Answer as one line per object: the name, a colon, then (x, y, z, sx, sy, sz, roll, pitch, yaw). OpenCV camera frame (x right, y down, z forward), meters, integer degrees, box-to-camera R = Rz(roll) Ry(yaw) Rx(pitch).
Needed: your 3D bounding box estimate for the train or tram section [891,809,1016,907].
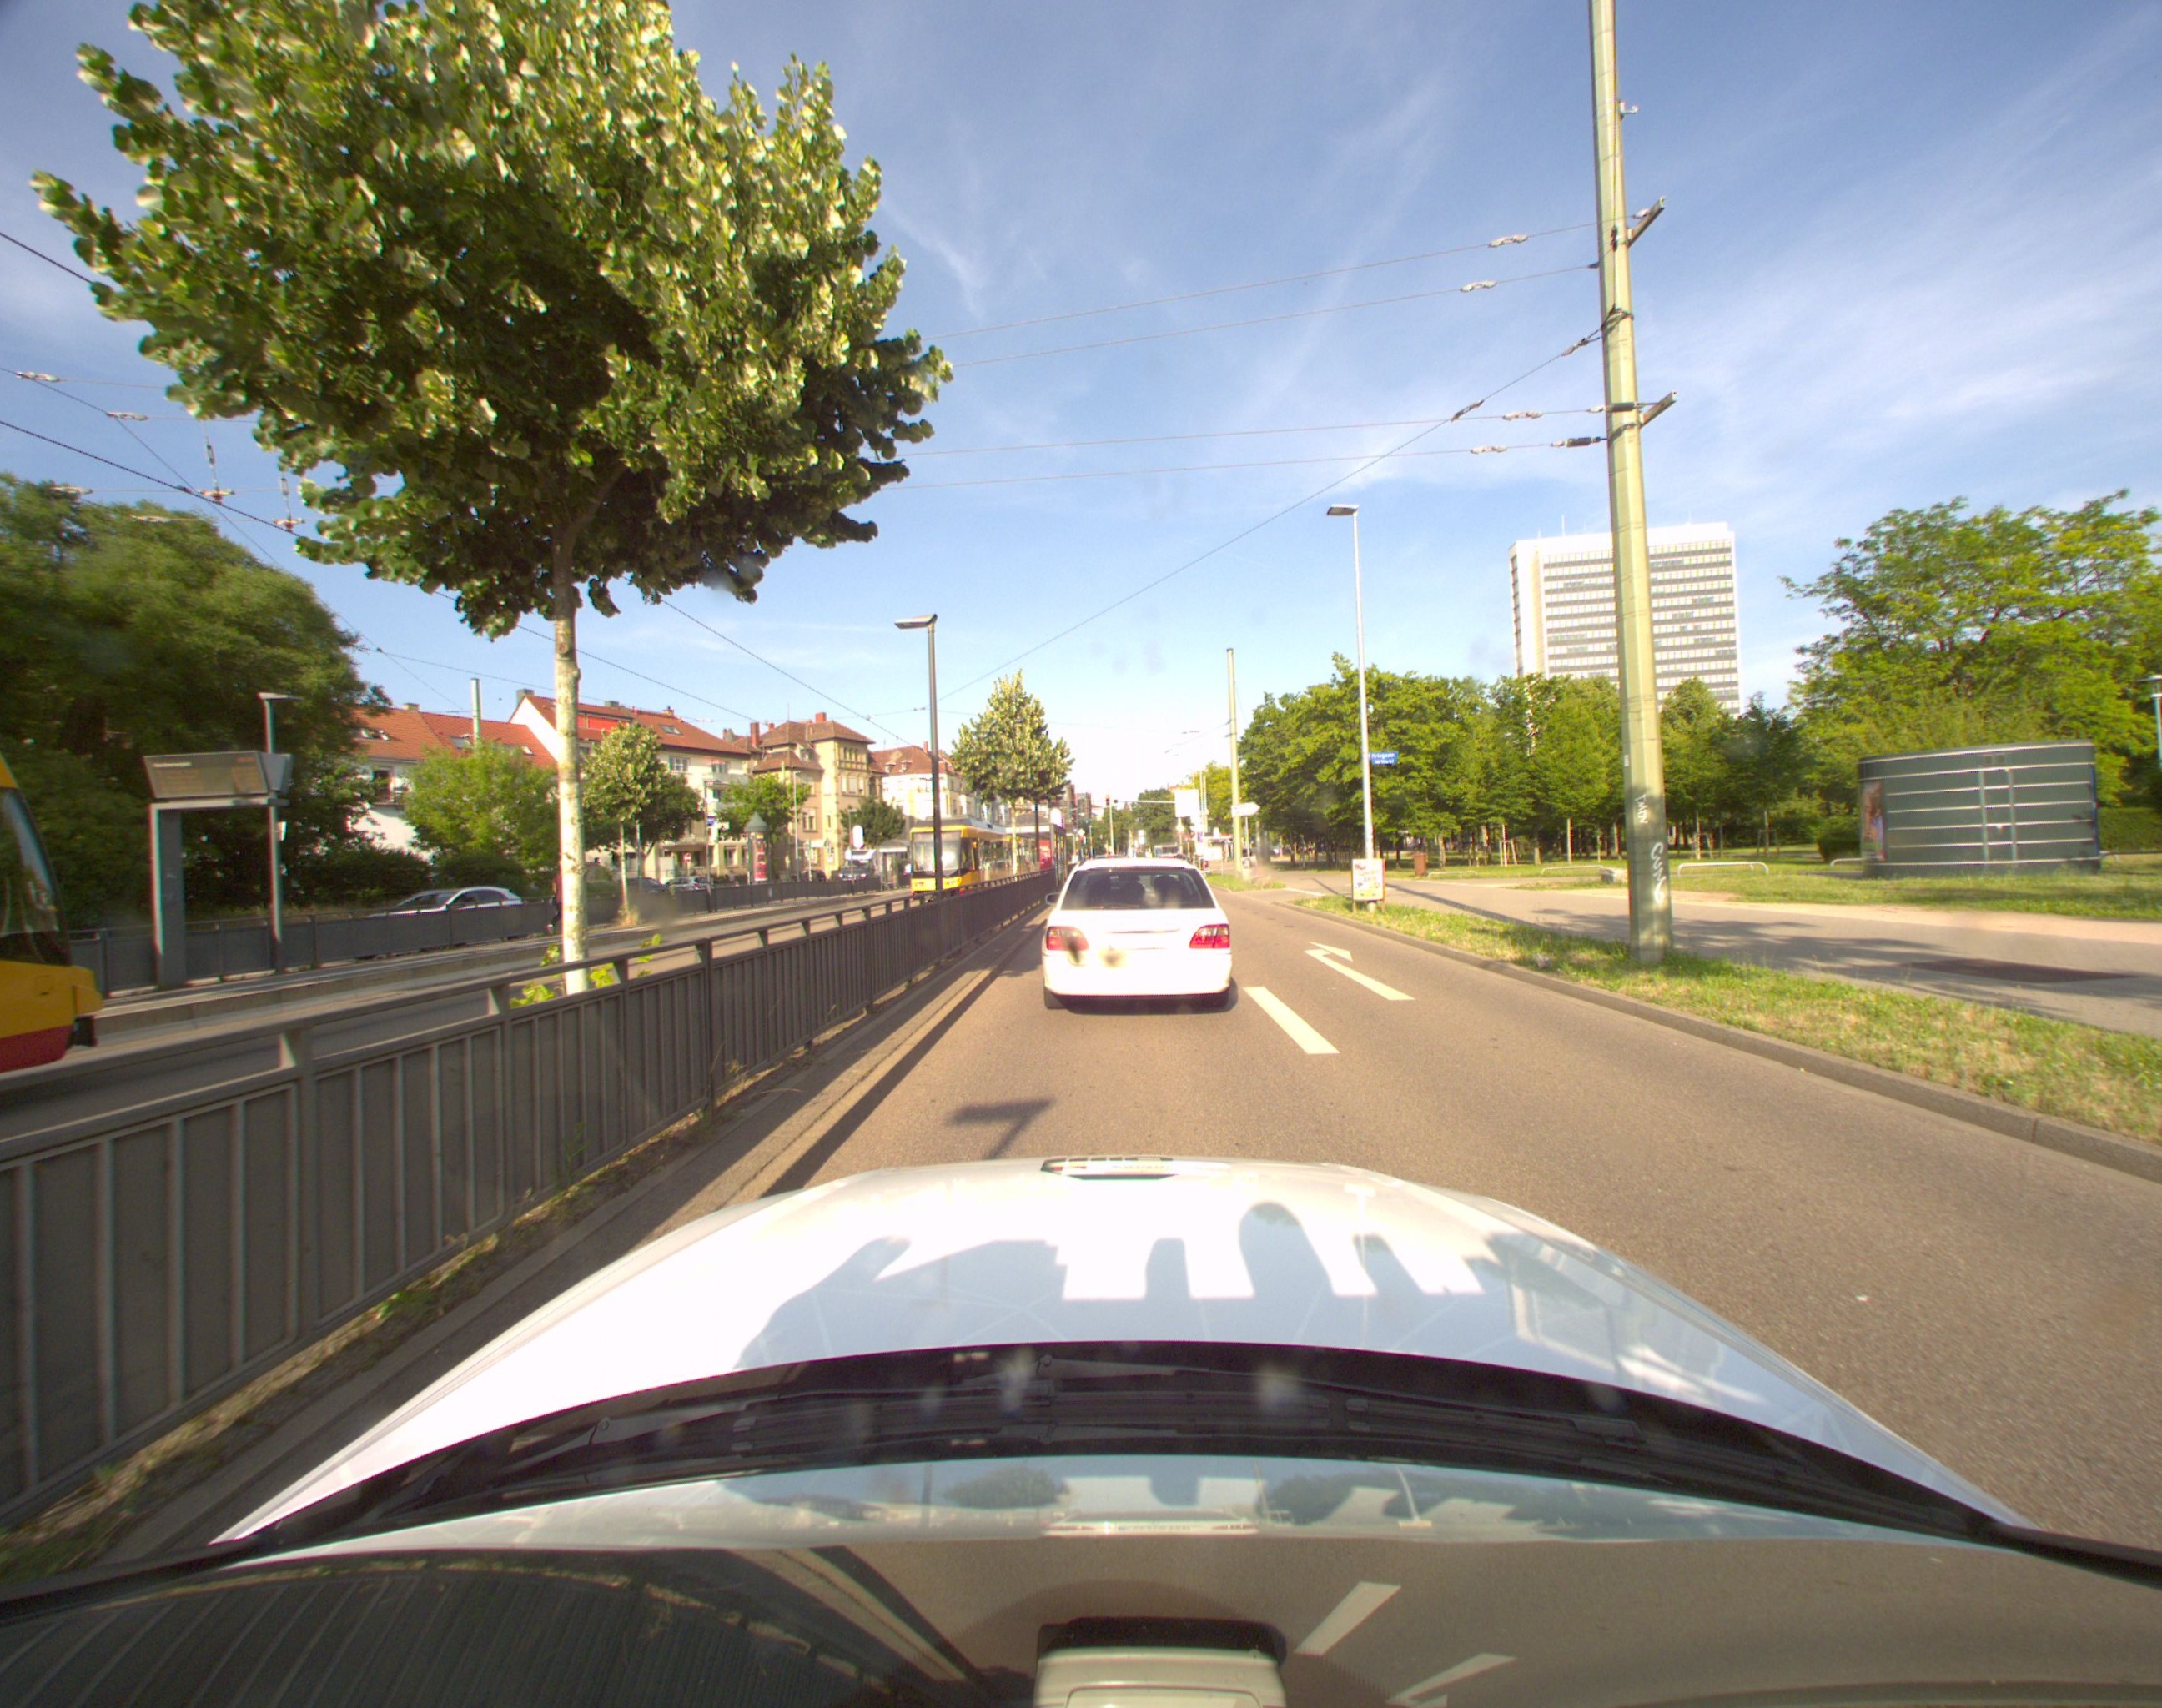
train or tram section: (-5.130, 0.096, 35.949, 2.838, 3.479, 13.207, -1, 0, 2)

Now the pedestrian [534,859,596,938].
pedestrian: (-11.879, 1.003, 18.768, 0.832, 1.733, 0.773, -3, 0, 2)

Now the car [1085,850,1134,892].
car: (1.313, 0.720, 35.991, 1.778, 1.690, 4.007, -2, 0, 6)

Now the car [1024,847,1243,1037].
car: (0.534, 0.743, 8.841, 1.751, 1.503, 4.003, -3, 0, 3)

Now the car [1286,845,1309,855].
car: (42.359, -0.825, 159.543, 4.006, 1.651, 1.984, -3, 0, -25)

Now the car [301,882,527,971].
car: (-15.639, 1.626, 19.438, 1.986, 1.684, 4.001, -2, 0, 1)

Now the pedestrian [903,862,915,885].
pedestrian: (-13.743, 1.555, 65.053, 0.886, 1.753, 0.743, -2, 0, -9)

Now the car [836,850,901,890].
car: (-15.628, 1.091, 60.559, 2.587, 2.735, 7.471, -2, 0, 2)

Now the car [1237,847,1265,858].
car: (27.690, -0.256, 132.423, 3.949, 1.651, 2.012, -3, 0, 27)

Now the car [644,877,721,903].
car: (-24.902, 2.239, 50.918, 3.956, 1.398, 2.009, -2, 0, 16)

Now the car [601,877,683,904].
car: (-25.980, 2.164, 48.237, 3.956, 1.398, 2.009, -2, 0, 16)

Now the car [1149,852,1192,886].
car: (4.600, 0.718, 41.926, 2.023, 1.605, 4.007, -2, 0, 6)

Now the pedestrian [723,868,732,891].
pedestrian: (-31.042, 2.269, 71.524, 0.417, 2.013, 0.436, -2, 0, 20)

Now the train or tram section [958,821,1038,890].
train or tram section: (-4.653, 0.049, 48.788, 2.838, 3.479, 13.207, -2, 0, 2)

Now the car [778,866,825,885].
car: (-27.786, 2.171, 81.073, 3.954, 1.750, 2.010, -2, 0, 19)

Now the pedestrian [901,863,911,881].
pedestrian: (-17.691, 1.837, 82.392, 0.662, 1.753, 0.747, -2, 0, 6)
